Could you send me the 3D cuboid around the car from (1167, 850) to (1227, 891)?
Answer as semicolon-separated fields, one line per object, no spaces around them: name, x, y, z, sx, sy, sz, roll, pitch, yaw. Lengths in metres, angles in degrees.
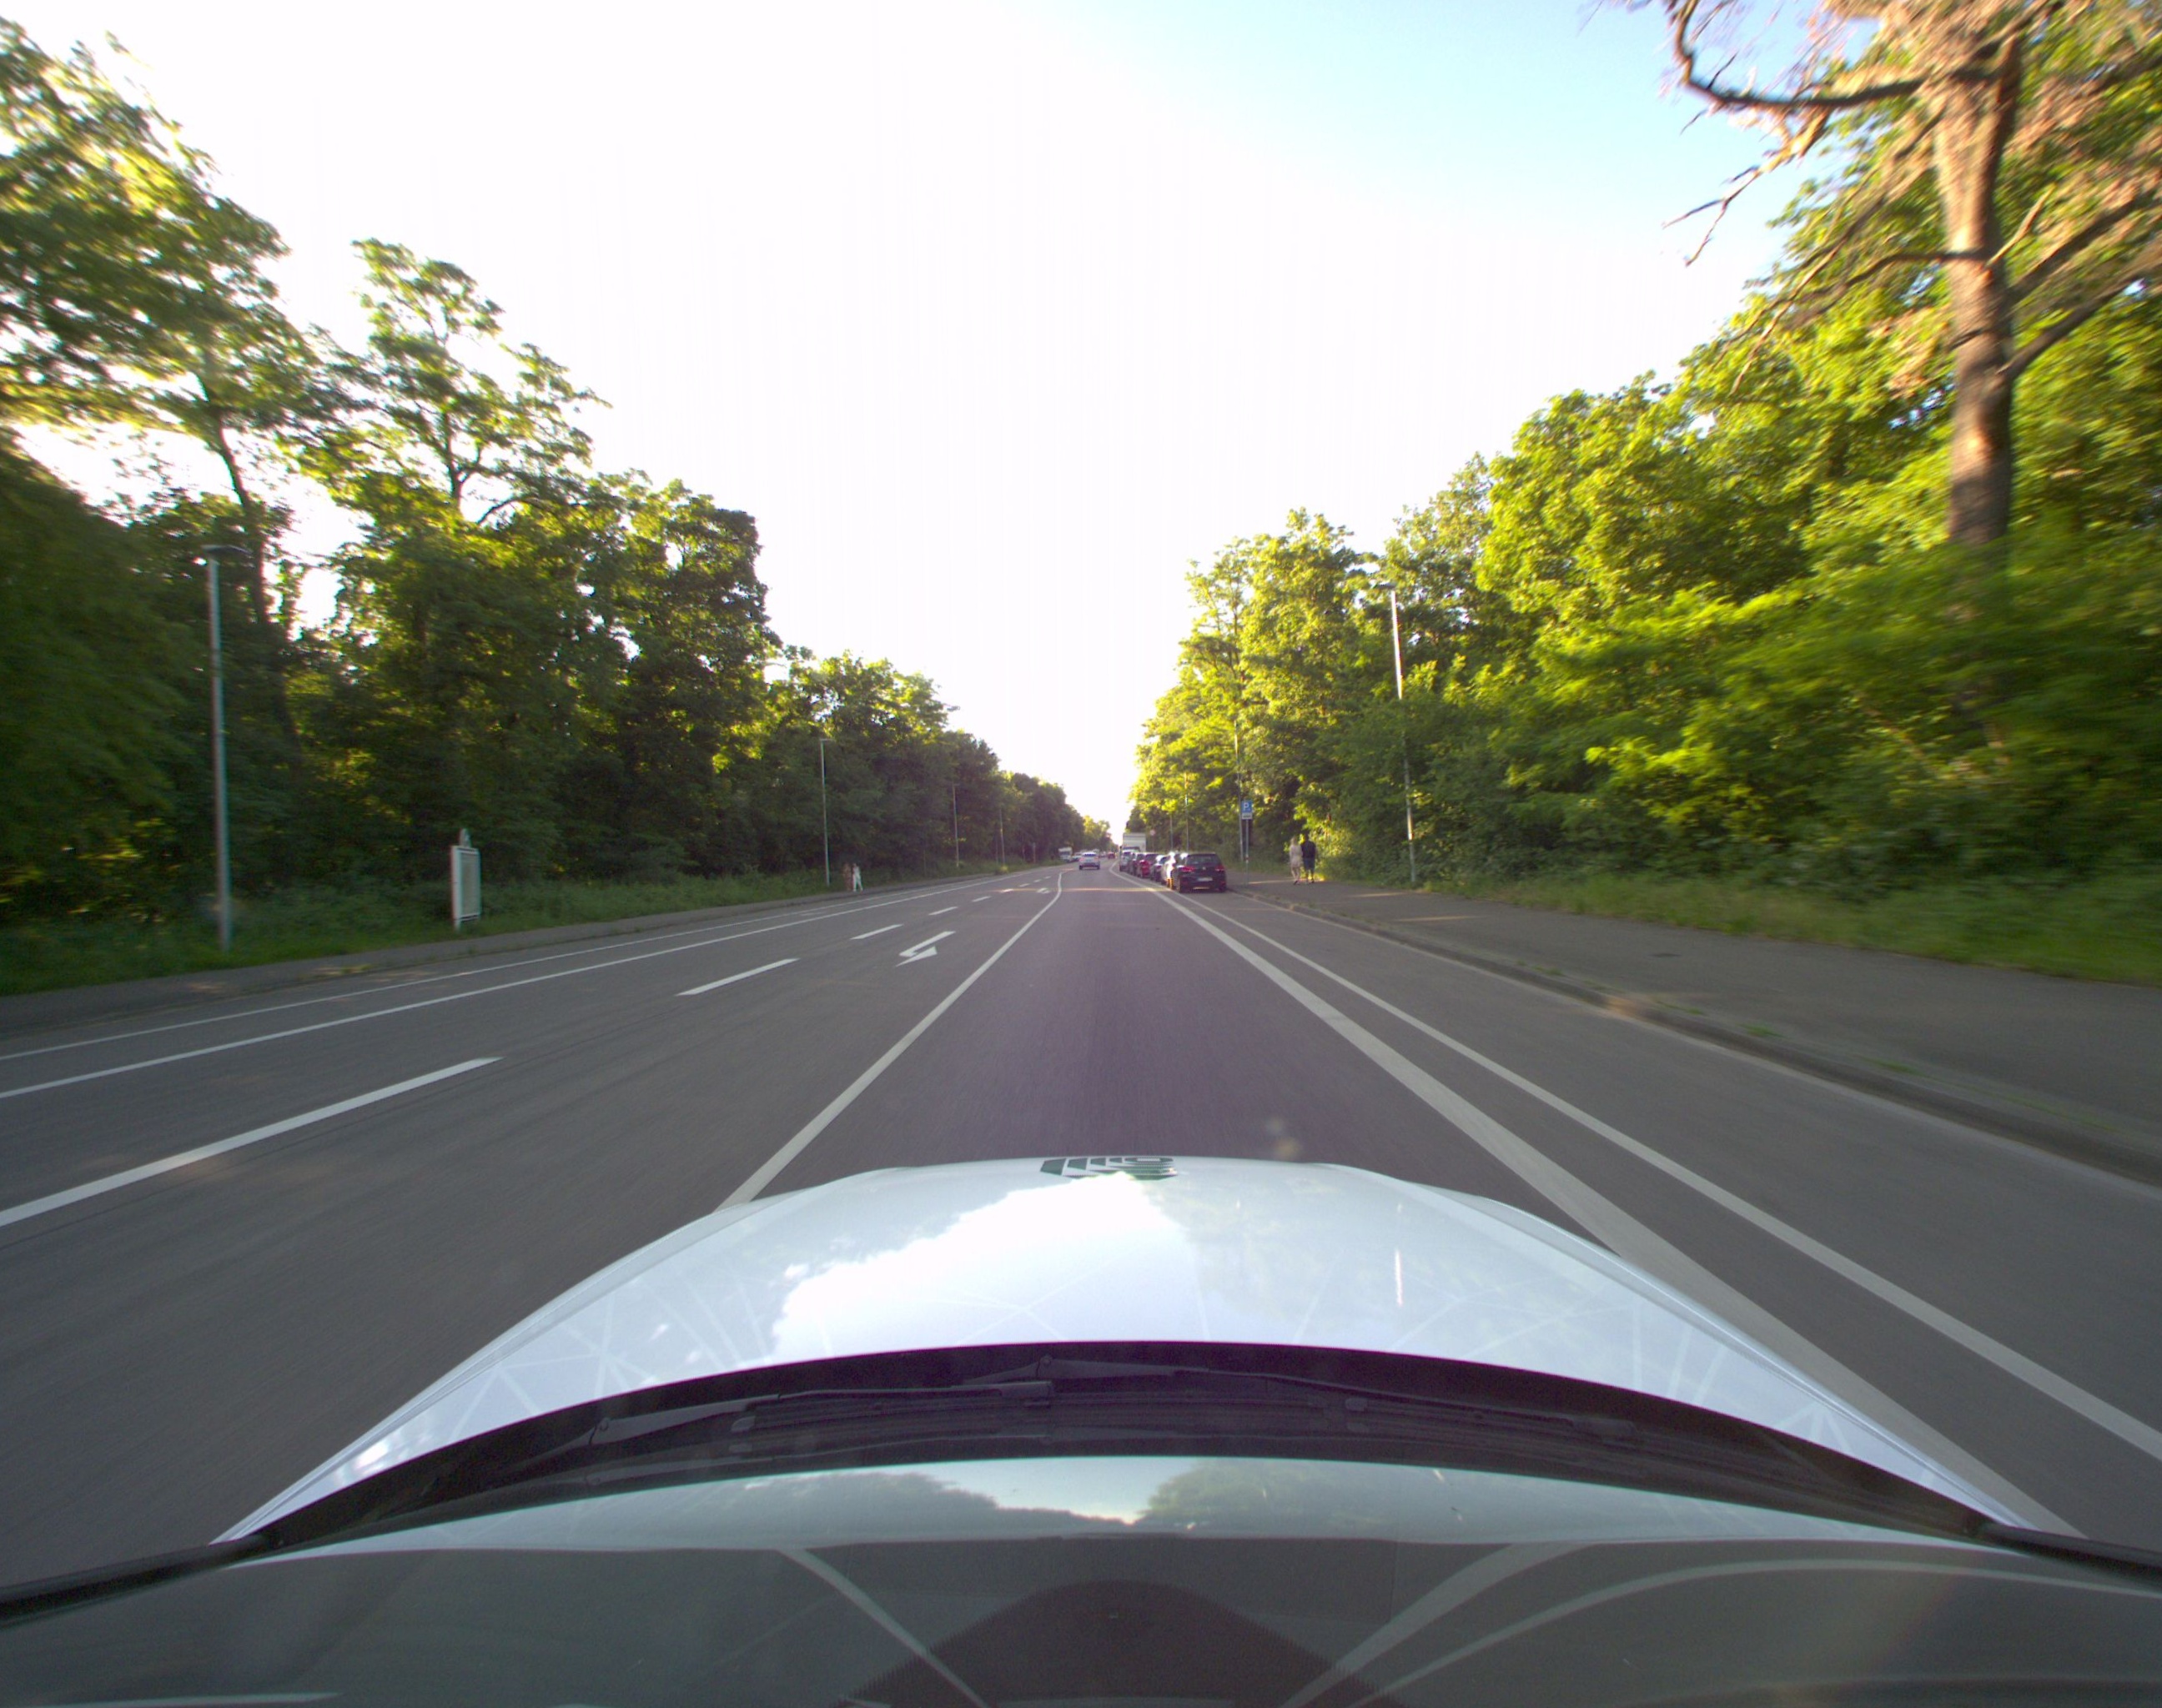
car;4.334;0.580;30.834;1.651;1.452;4.018;0;0;-1

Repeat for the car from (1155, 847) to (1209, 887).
car;4.338;0.512;35.435;1.731;1.524;4.359;-3;0;0

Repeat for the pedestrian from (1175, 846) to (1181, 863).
pedestrian;8.765;0.048;73.613;0.392;1.588;0.482;-3;0;2

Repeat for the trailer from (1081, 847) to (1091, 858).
trailer;1.345;-0.323;201.047;1.985;2.597;4.419;-5;0;3

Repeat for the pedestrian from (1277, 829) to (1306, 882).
pedestrian;7.483;0.063;28.984;0.673;1.799;0.789;-5;0;-3

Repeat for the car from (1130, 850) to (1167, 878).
car;3.827;0.548;46.625;1.613;1.469;3.720;-1;0;-3

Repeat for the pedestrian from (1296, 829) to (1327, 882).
pedestrian;8.218;0.060;29.106;0.673;1.799;0.952;-5;0;-3

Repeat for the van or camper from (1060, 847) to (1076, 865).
van or camper;-2.256;0.375;144.786;2.307;2.969;7.112;-5;0;1

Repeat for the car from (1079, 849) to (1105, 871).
car;0.982;0.540;72.755;2.020;1.840;4.033;-3;0;3

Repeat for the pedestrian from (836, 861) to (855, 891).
pedestrian;-13.337;1.247;46.187;0.671;1.653;0.791;-3;0;7

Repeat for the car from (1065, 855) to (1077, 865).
car;-1.675;1.049;136.844;1.821;1.476;4.680;-4;0;0

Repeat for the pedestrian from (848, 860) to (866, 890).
pedestrian;-12.667;1.204;46.102;0.671;1.653;0.791;-3;0;7

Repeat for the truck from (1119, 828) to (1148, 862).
truck;5.707;-0.956;90.390;2.821;3.497;8.583;-3;0;2

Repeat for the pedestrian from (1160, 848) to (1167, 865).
pedestrian;7.724;0.209;75.978;0.561;1.588;0.482;-3;0;2

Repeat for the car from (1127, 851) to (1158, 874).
car;3.932;0.537;52.159;1.590;1.401;3.796;-2;0;-1

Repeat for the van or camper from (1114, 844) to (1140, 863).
van or camper;7.266;-0.130;127.646;2.422;2.799;6.585;-3;0;16

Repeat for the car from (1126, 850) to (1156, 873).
car;4.169;0.485;57.117;1.801;1.519;4.504;-1;0;1

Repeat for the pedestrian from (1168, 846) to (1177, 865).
pedestrian;8.772;0.104;78.129;0.615;1.764;0.907;-3;0;2

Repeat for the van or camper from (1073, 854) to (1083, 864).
van or camper;-0.558;1.055;177.602;1.828;1.911;4.859;-4;0;2

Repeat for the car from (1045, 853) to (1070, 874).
car;-1.840;0.727;65.087;1.801;1.519;4.504;-1;0;1

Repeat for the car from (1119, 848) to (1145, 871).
car;3.918;0.415;62.527;1.791;1.595;4.033;-3;0;3

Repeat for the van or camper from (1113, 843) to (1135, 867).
van or camper;3.984;0.080;75.057;1.889;2.013;4.591;-3;0;3

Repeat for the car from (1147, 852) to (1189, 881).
car;4.343;0.594;41.009;1.623;1.319;3.839;-2;0;-1
